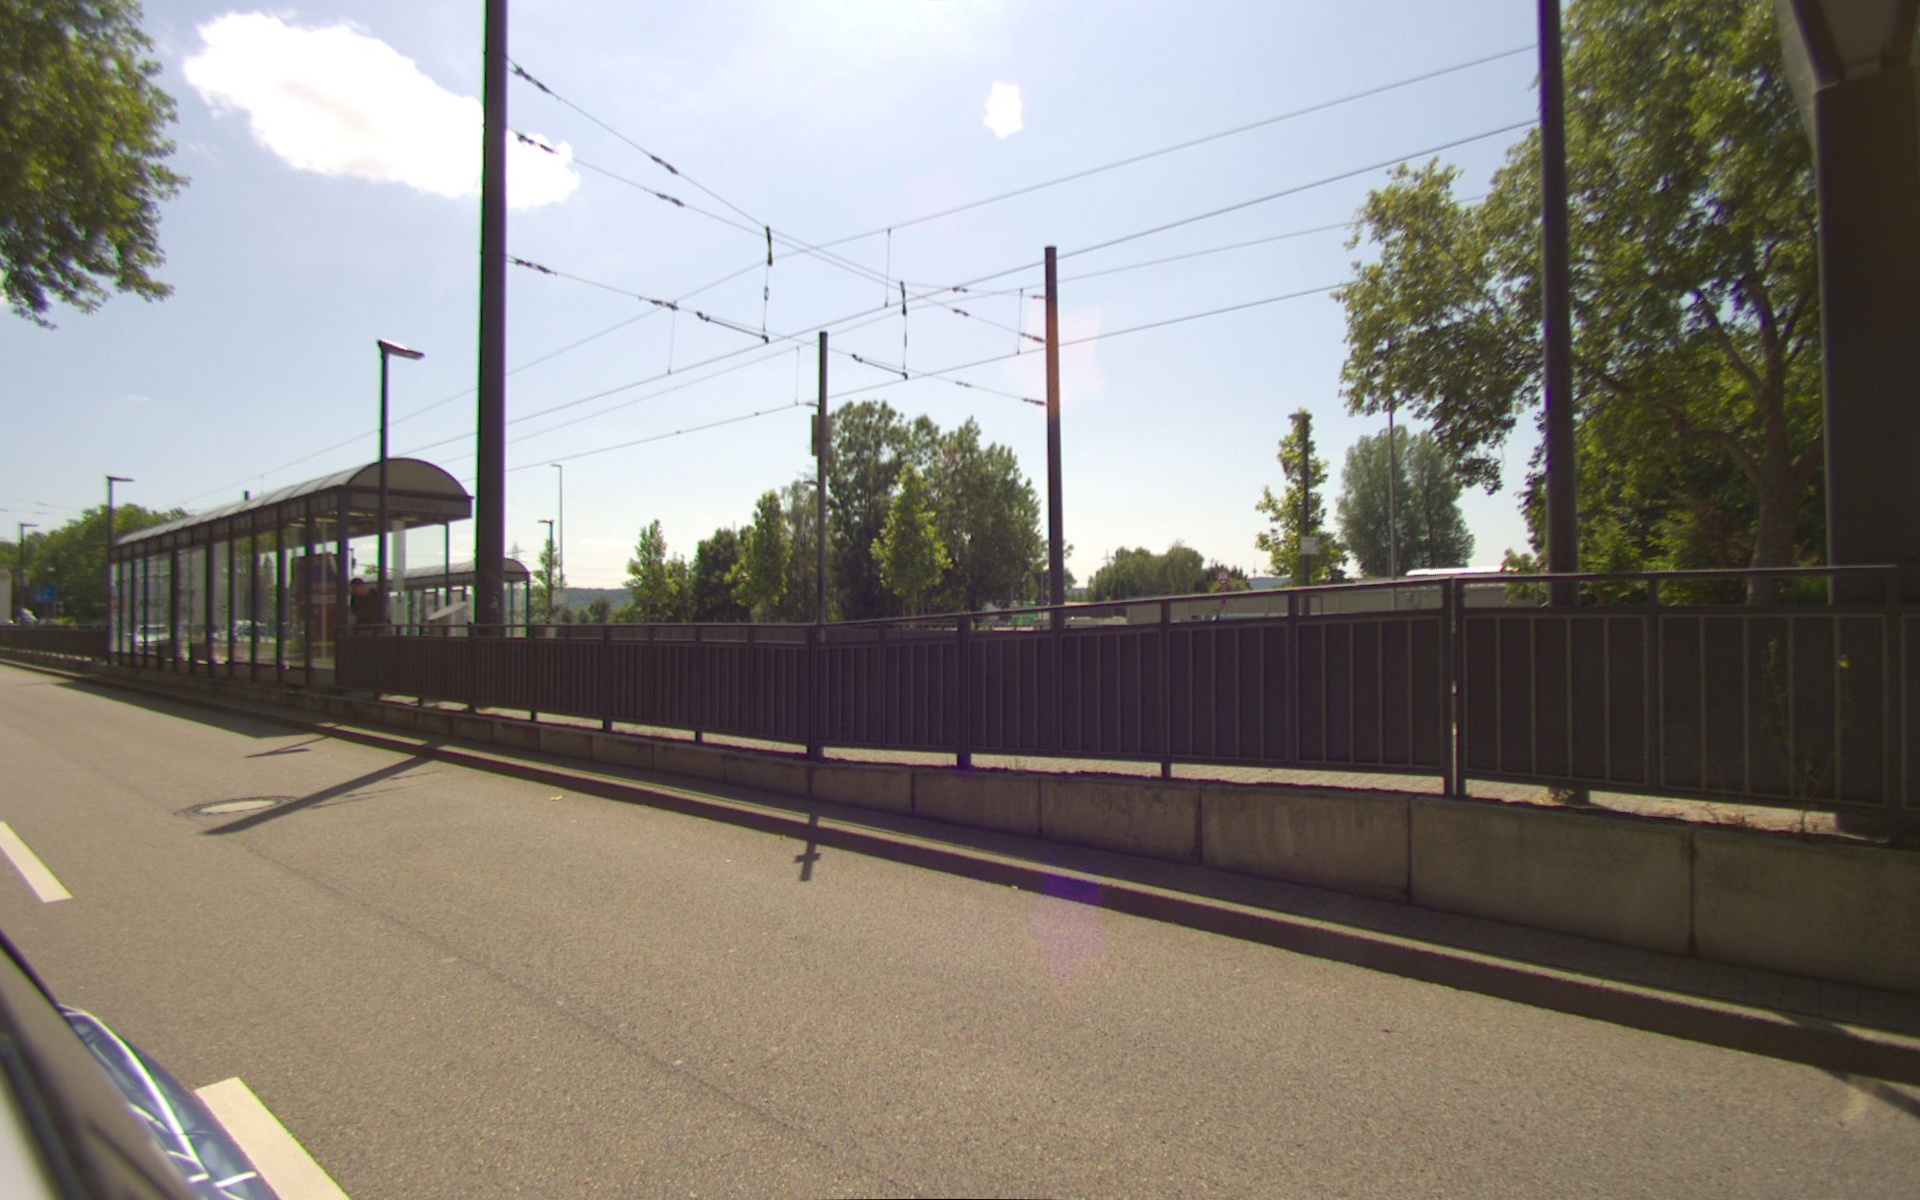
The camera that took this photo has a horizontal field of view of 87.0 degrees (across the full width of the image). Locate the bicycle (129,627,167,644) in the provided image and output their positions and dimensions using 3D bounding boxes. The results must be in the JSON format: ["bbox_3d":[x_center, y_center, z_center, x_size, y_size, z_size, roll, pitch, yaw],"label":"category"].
[{"bbox_3d":[-57.789,2.500,72.051,0.760,1.109,1.961,-1,0,26],"label":"bicycle"}]

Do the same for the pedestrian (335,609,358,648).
[{"bbox_3d":[-28.045,1.301,46.274,0.726,1.742,0.579,0,-1,-11],"label":"pedestrian"}]

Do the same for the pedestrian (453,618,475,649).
[{"bbox_3d":[-18.985,1.281,38.768,0.639,1.199,0.570,-2,-2,42],"label":"pedestrian"}]

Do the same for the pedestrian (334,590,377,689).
[{"bbox_3d":[-9.420,0.605,15.772,0.413,1.519,0.396,0,-1,0],"label":"pedestrian"}]

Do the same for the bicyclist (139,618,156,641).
[{"bbox_3d":[-57.813,2.099,72.011,0.729,1.627,0.660,-1,0,26],"label":"bicyclist"}]

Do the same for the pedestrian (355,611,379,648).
[{"bbox_3d":[-26.713,1.326,45.604,0.814,1.651,0.579,0,-1,-11],"label":"pedestrian"}]

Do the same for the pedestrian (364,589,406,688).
[{"bbox_3d":[-9.001,0.596,15.857,0.413,1.519,0.396,0,-1,0],"label":"pedestrian"}]

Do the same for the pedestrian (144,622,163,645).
[{"bbox_3d":[-56.960,2.355,71.465,0.763,1.622,0.947,-2,-1,39],"label":"pedestrian"}]

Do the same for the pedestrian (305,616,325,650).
[{"bbox_3d":[-31.827,1.623,49.957,0.804,1.650,0.552,-2,-1,34],"label":"pedestrian"}]

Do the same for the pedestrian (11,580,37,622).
[{"bbox_3d":[-38.655,0.049,41.795,0.742,1.678,0.725,-2,-1,41],"label":"pedestrian"}]
